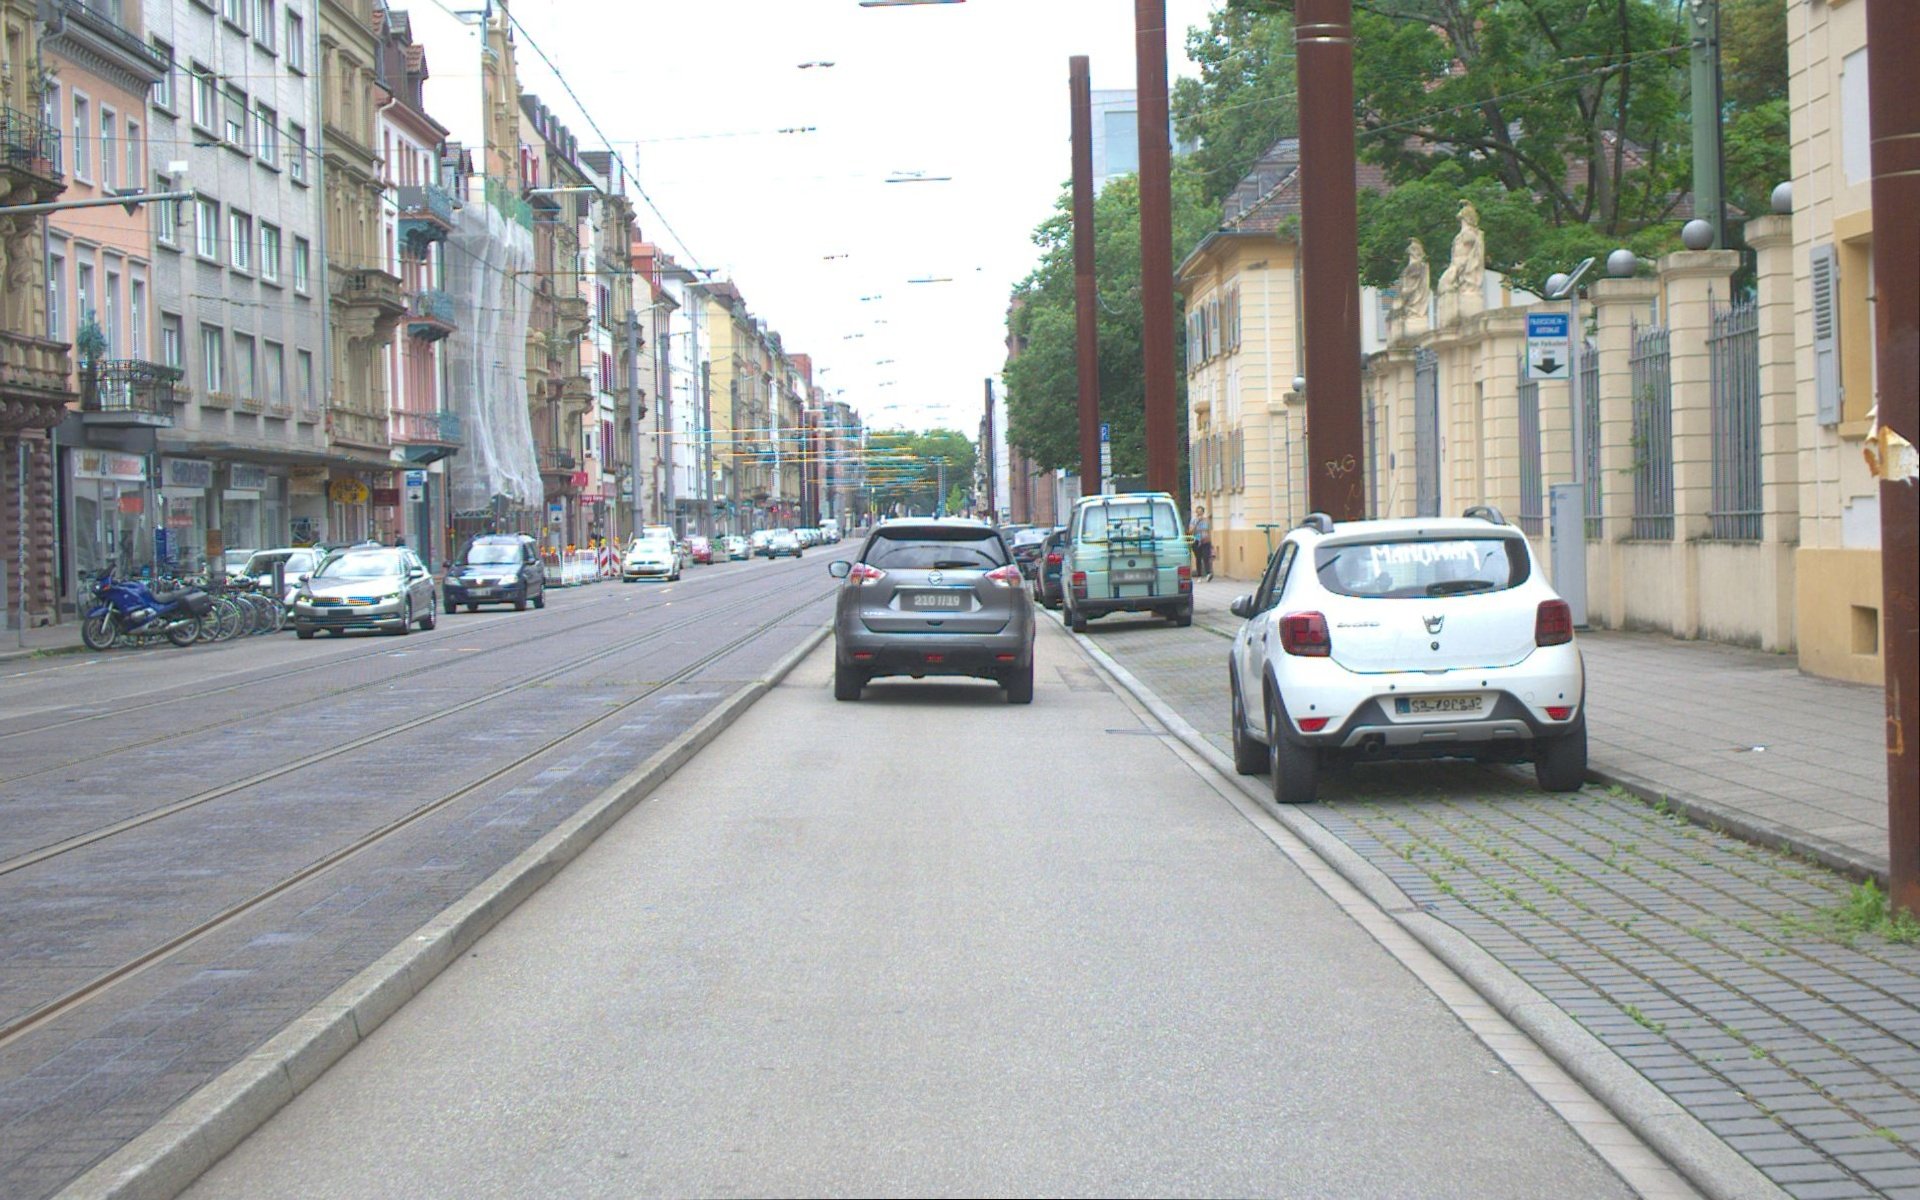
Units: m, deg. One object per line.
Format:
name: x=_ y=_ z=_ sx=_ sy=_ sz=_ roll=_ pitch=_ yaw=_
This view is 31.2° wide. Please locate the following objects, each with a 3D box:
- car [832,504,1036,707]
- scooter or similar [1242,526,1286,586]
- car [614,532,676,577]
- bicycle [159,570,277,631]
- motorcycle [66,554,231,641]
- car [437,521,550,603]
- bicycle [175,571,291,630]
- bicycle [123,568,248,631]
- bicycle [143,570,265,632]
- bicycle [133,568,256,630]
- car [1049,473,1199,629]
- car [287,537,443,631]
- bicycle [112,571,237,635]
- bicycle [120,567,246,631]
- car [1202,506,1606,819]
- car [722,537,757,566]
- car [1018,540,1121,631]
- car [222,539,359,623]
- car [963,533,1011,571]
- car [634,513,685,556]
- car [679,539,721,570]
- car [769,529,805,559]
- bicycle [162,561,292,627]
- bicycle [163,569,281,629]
car: x=-0.244 y=0.010 z=32.399 sx=1.749 sy=1.750 sz=3.924 roll=2 pitch=1 yaw=0
scooter or similar: x=6.529 y=-0.938 z=73.824 sx=0.747 sy=1.246 sz=1.919 roll=-1 pitch=0 yaw=0
car: x=-10.343 y=-1.525 z=113.103 sx=1.687 sy=1.415 sz=4.135 roll=-1 pitch=1 yaw=0
bicycle: x=-12.906 y=0.008 z=59.834 sx=1.965 sy=0.998 sz=0.463 roll=-1 pitch=1 yaw=-7
motorcycle: x=-12.775 y=-0.050 z=54.132 sx=2.337 sy=1.298 sz=0.883 roll=-2 pitch=1 yaw=-36
car: x=-9.951 y=-0.829 z=73.568 sx=1.759 sy=1.666 sz=4.614 roll=-1 pitch=1 yaw=0
bicycle: x=-12.919 y=0.008 z=61.087 sx=1.965 sy=0.998 sz=0.463 roll=-1 pitch=1 yaw=-7
bicycle: x=-12.912 y=-0.013 z=57.354 sx=1.965 sy=0.998 sz=0.463 roll=-1 pitch=1 yaw=-7
bicycle: x=-12.899 y=0.018 z=58.680 sx=1.965 sy=0.998 sz=0.463 roll=-1 pitch=1 yaw=-7
bicycle: x=-12.884 y=-0.018 z=57.890 sx=1.965 sy=0.998 sz=0.463 roll=-1 pitch=1 yaw=-7
car: x=2.423 y=-0.753 z=51.928 sx=1.851 sy=2.108 sz=4.985 roll=-4 pitch=1 yaw=0
car: x=-9.836 y=-0.299 z=57.124 sx=1.759 sy=1.444 sz=4.614 roll=-1 pitch=1 yaw=0
bicycle: x=-12.810 y=0.049 z=56.090 sx=1.921 sy=0.998 sz=0.463 roll=-1 pitch=1 yaw=-7
bicycle: x=-12.844 y=-0.015 z=56.849 sx=1.965 sy=0.998 sz=0.463 roll=-1 pitch=1 yaw=-7
car: x=2.524 y=0.294 z=20.418 sx=1.755 sy=1.569 sz=3.931 roll=-4 pitch=1 yaw=-1
car: x=-12.941 y=-2.860 z=201.905 sx=1.993 sy=1.629 sz=4.000 roll=-1 pitch=0 yaw=-3
car: x=2.091 y=-0.307 z=66.517 sx=1.749 sy=1.590 sz=3.924 roll=-4 pitch=1 yaw=0
car: x=-12.760 y=-0.388 z=65.750 sx=1.776 sy=1.499 sz=4.402 roll=-1 pitch=1 yaw=0
car: x=1.048 y=-1.872 z=133.504 sx=1.776 sy=1.415 sz=4.135 roll=-1 pitch=1 yaw=0
car: x=-12.460 y=-2.714 z=142.722 sx=1.993 sy=1.700 sz=4.000 roll=-1 pitch=0 yaw=-3
car: x=-13.001 y=-2.271 z=172.031 sx=1.993 sy=1.459 sz=4.000 roll=-1 pitch=0 yaw=-3
car: x=-9.914 y=-3.170 z=196.401 sx=1.993 sy=1.629 sz=4.000 roll=-1 pitch=0 yaw=-3
bicycle: x=-13.142 y=-0.104 z=61.691 sx=2.230 sy=1.122 sz=0.504 roll=-1 pitch=1 yaw=-7
bicycle: x=-12.972 y=-0.015 z=60.438 sx=1.965 sy=0.998 sz=0.463 roll=-1 pitch=1 yaw=-7
